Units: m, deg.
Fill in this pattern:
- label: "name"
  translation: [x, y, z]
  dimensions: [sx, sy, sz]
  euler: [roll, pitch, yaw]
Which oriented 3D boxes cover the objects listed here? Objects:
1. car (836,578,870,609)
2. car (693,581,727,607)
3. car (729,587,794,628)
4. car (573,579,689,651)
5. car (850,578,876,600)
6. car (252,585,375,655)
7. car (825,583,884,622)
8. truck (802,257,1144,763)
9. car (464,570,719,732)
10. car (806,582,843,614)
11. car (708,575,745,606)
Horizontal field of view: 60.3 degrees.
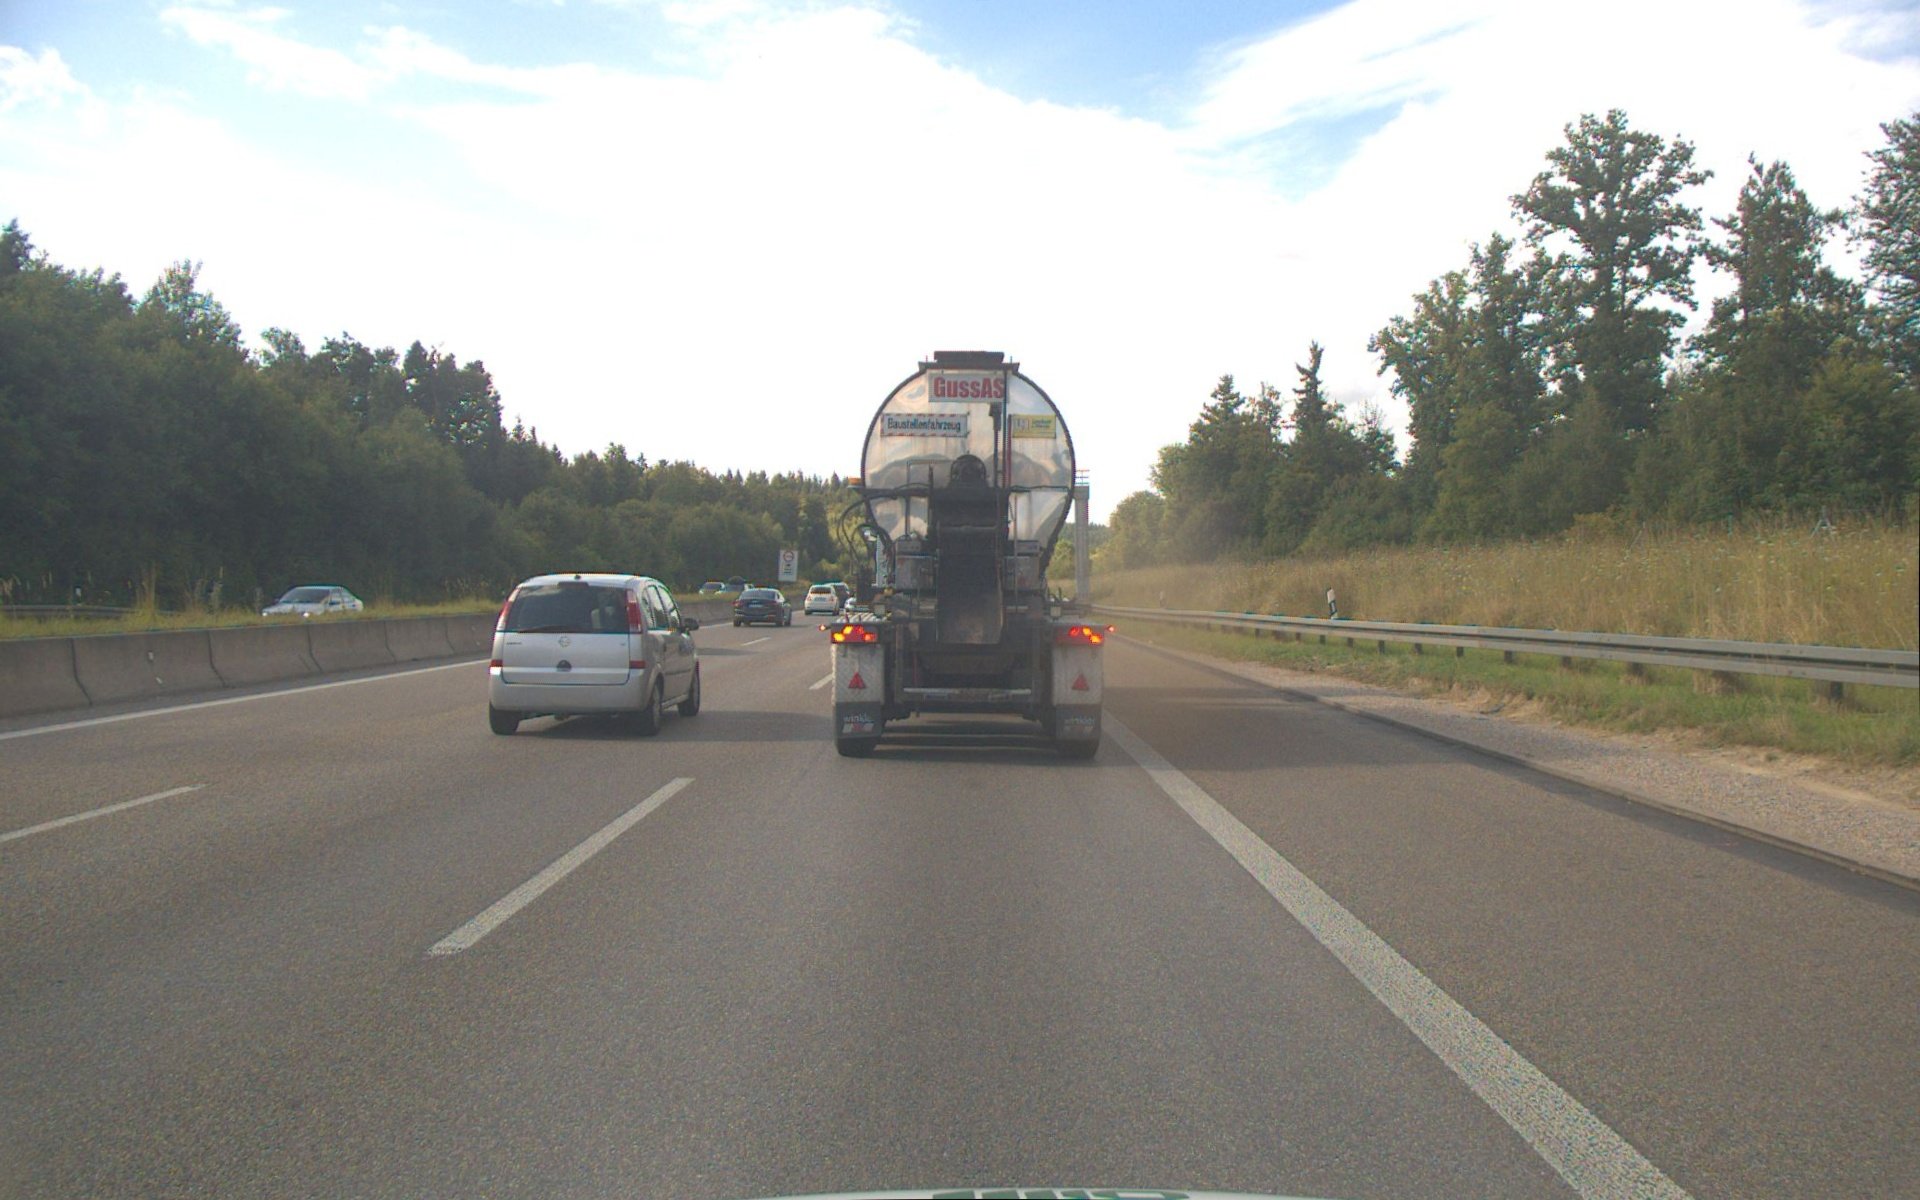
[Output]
- label: "car"
  translation: [-6.396, -0.391, 99.144]
  dimensions: [1.808, 1.814, 3.999]
  euler: [0, 0, -1]
- label: "car"
  translation: [-18.448, -0.452, 122.199]
  dimensions: [1.953, 1.914, 4.437]
  euler: [0, 0, -1]
- label: "car"
  translation: [-7.356, 0.247, 61.562]
  dimensions: [1.818, 1.456, 4.841]
  euler: [0, 0, 0]
- label: "car"
  translation: [-7.472, 0.313, 37.978]
  dimensions: [1.798, 1.544, 4.333]
  euler: [0, 0, 0]
- label: "car"
  translation: [-7.370, -0.834, 125.996]
  dimensions: [1.770, 1.613, 4.206]
  euler: [0, 0, -1]
- label: "car"
  translation: [-18.626, 0.537, 47.855]
  dimensions: [1.887, 1.938, 4.429]
  euler: [0, 0, -1]
- label: "car"
  translation: [-4.239, 0.087, 67.438]
  dimensions: [2.018, 1.525, 5.736]
  euler: [0, 0, 0]
- label: "truck"
  translation: [0.130, -0.807, 19.528]
  dimensions: [2.853, 4.230, 11.270]
  euler: [0, 0, 0]
- label: "car"
  translation: [-3.835, 0.469, 17.965]
  dimensions: [1.798, 1.544, 4.333]
  euler: [0, 0, 0]
- label: "car"
  translation: [-6.890, -0.092, 84.329]
  dimensions: [1.585, 1.571, 3.519]
  euler: [1, 0, -1]
- label: "car"
  translation: [-15.571, -0.648, 110.448]
  dimensions: [1.953, 2.049, 4.071]
  euler: [0, 0, -1]
